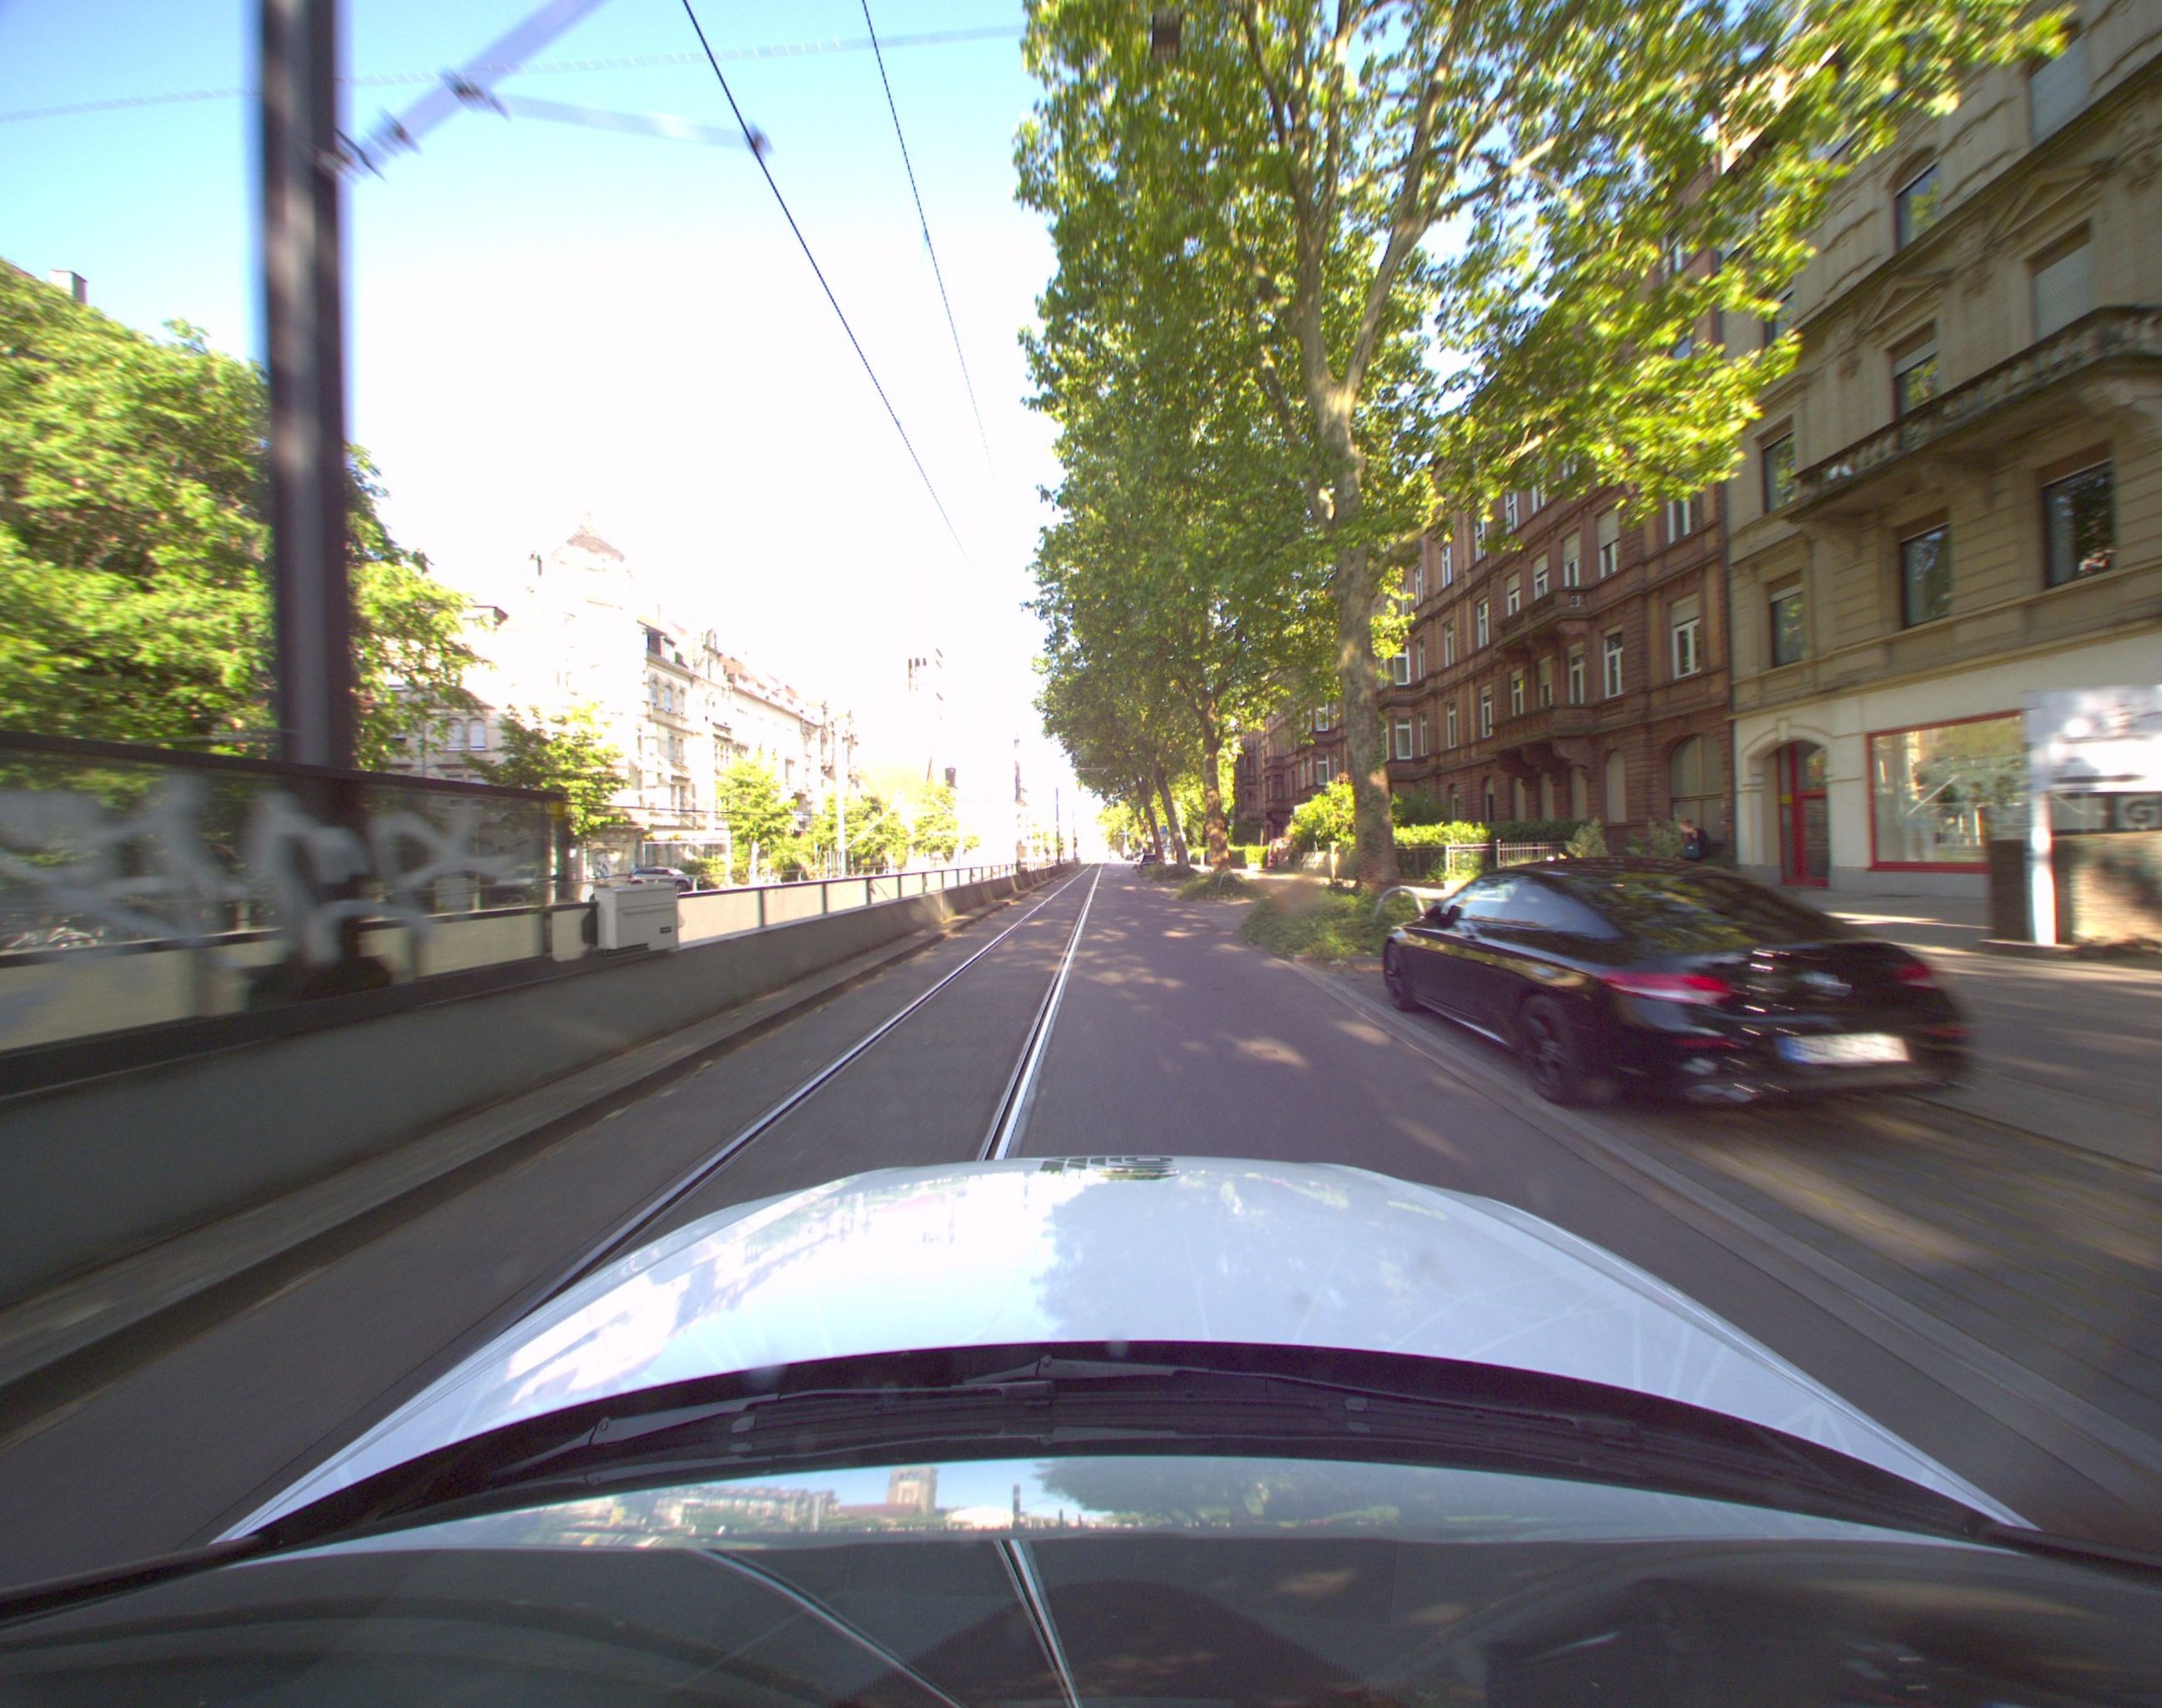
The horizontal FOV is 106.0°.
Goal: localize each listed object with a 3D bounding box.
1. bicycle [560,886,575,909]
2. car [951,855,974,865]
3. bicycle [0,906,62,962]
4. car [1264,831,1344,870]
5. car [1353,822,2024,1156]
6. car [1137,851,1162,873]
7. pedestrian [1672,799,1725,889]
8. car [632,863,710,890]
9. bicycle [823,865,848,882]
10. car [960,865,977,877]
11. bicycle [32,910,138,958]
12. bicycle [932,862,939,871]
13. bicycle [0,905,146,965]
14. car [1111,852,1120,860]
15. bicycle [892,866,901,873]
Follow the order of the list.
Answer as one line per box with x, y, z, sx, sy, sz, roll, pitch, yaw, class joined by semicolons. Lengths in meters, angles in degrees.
-23.300;1.965;36.934;0.457;1.005;1.925;1;-3;-29;bicycle
-22.836;1.113;156.532;3.969;1.756;1.897;1;0;4;car
-23.165;1.729;17.072;0.553;1.098;2.377;1;0;2;bicycle
13.361;-0.188;49.036;4.163;2.013;2.000;-4;0;-1;car
3.652;0.642;6.239;1.725;1.536;4.809;-2;0;3;car
5.311;0.588;63.894;1.611;1.587;4.418;-3;0;1;car
14.280;-0.223;18.846;0.670;2.013;0.633;-2;0;1;pedestrian
-25.657;1.391;51.075;3.985;1.624;1.820;0;0;-9;car
-19.136;1.550;63.596;1.721;1.280;0.601;-2;0;7;bicycle
-16.573;2.493;120.234;1.708;1.555;4.514;1;0;4;car
-20.724;1.650;16.967;1.272;0.905;0.534;1;0;-29;bicycle
-18.004;1.540;100.537;0.487;1.022;1.879;1;0;-22;bicycle
-20.645;1.616;16.350;2.382;1.098;0.552;1;0;-29;bicycle
6.875;0.434;161.510;1.739;1.462;3.645;1;0;1;car
-21.438;1.782;94.789;0.414;0.800;1.890;1;0;5;bicycle
